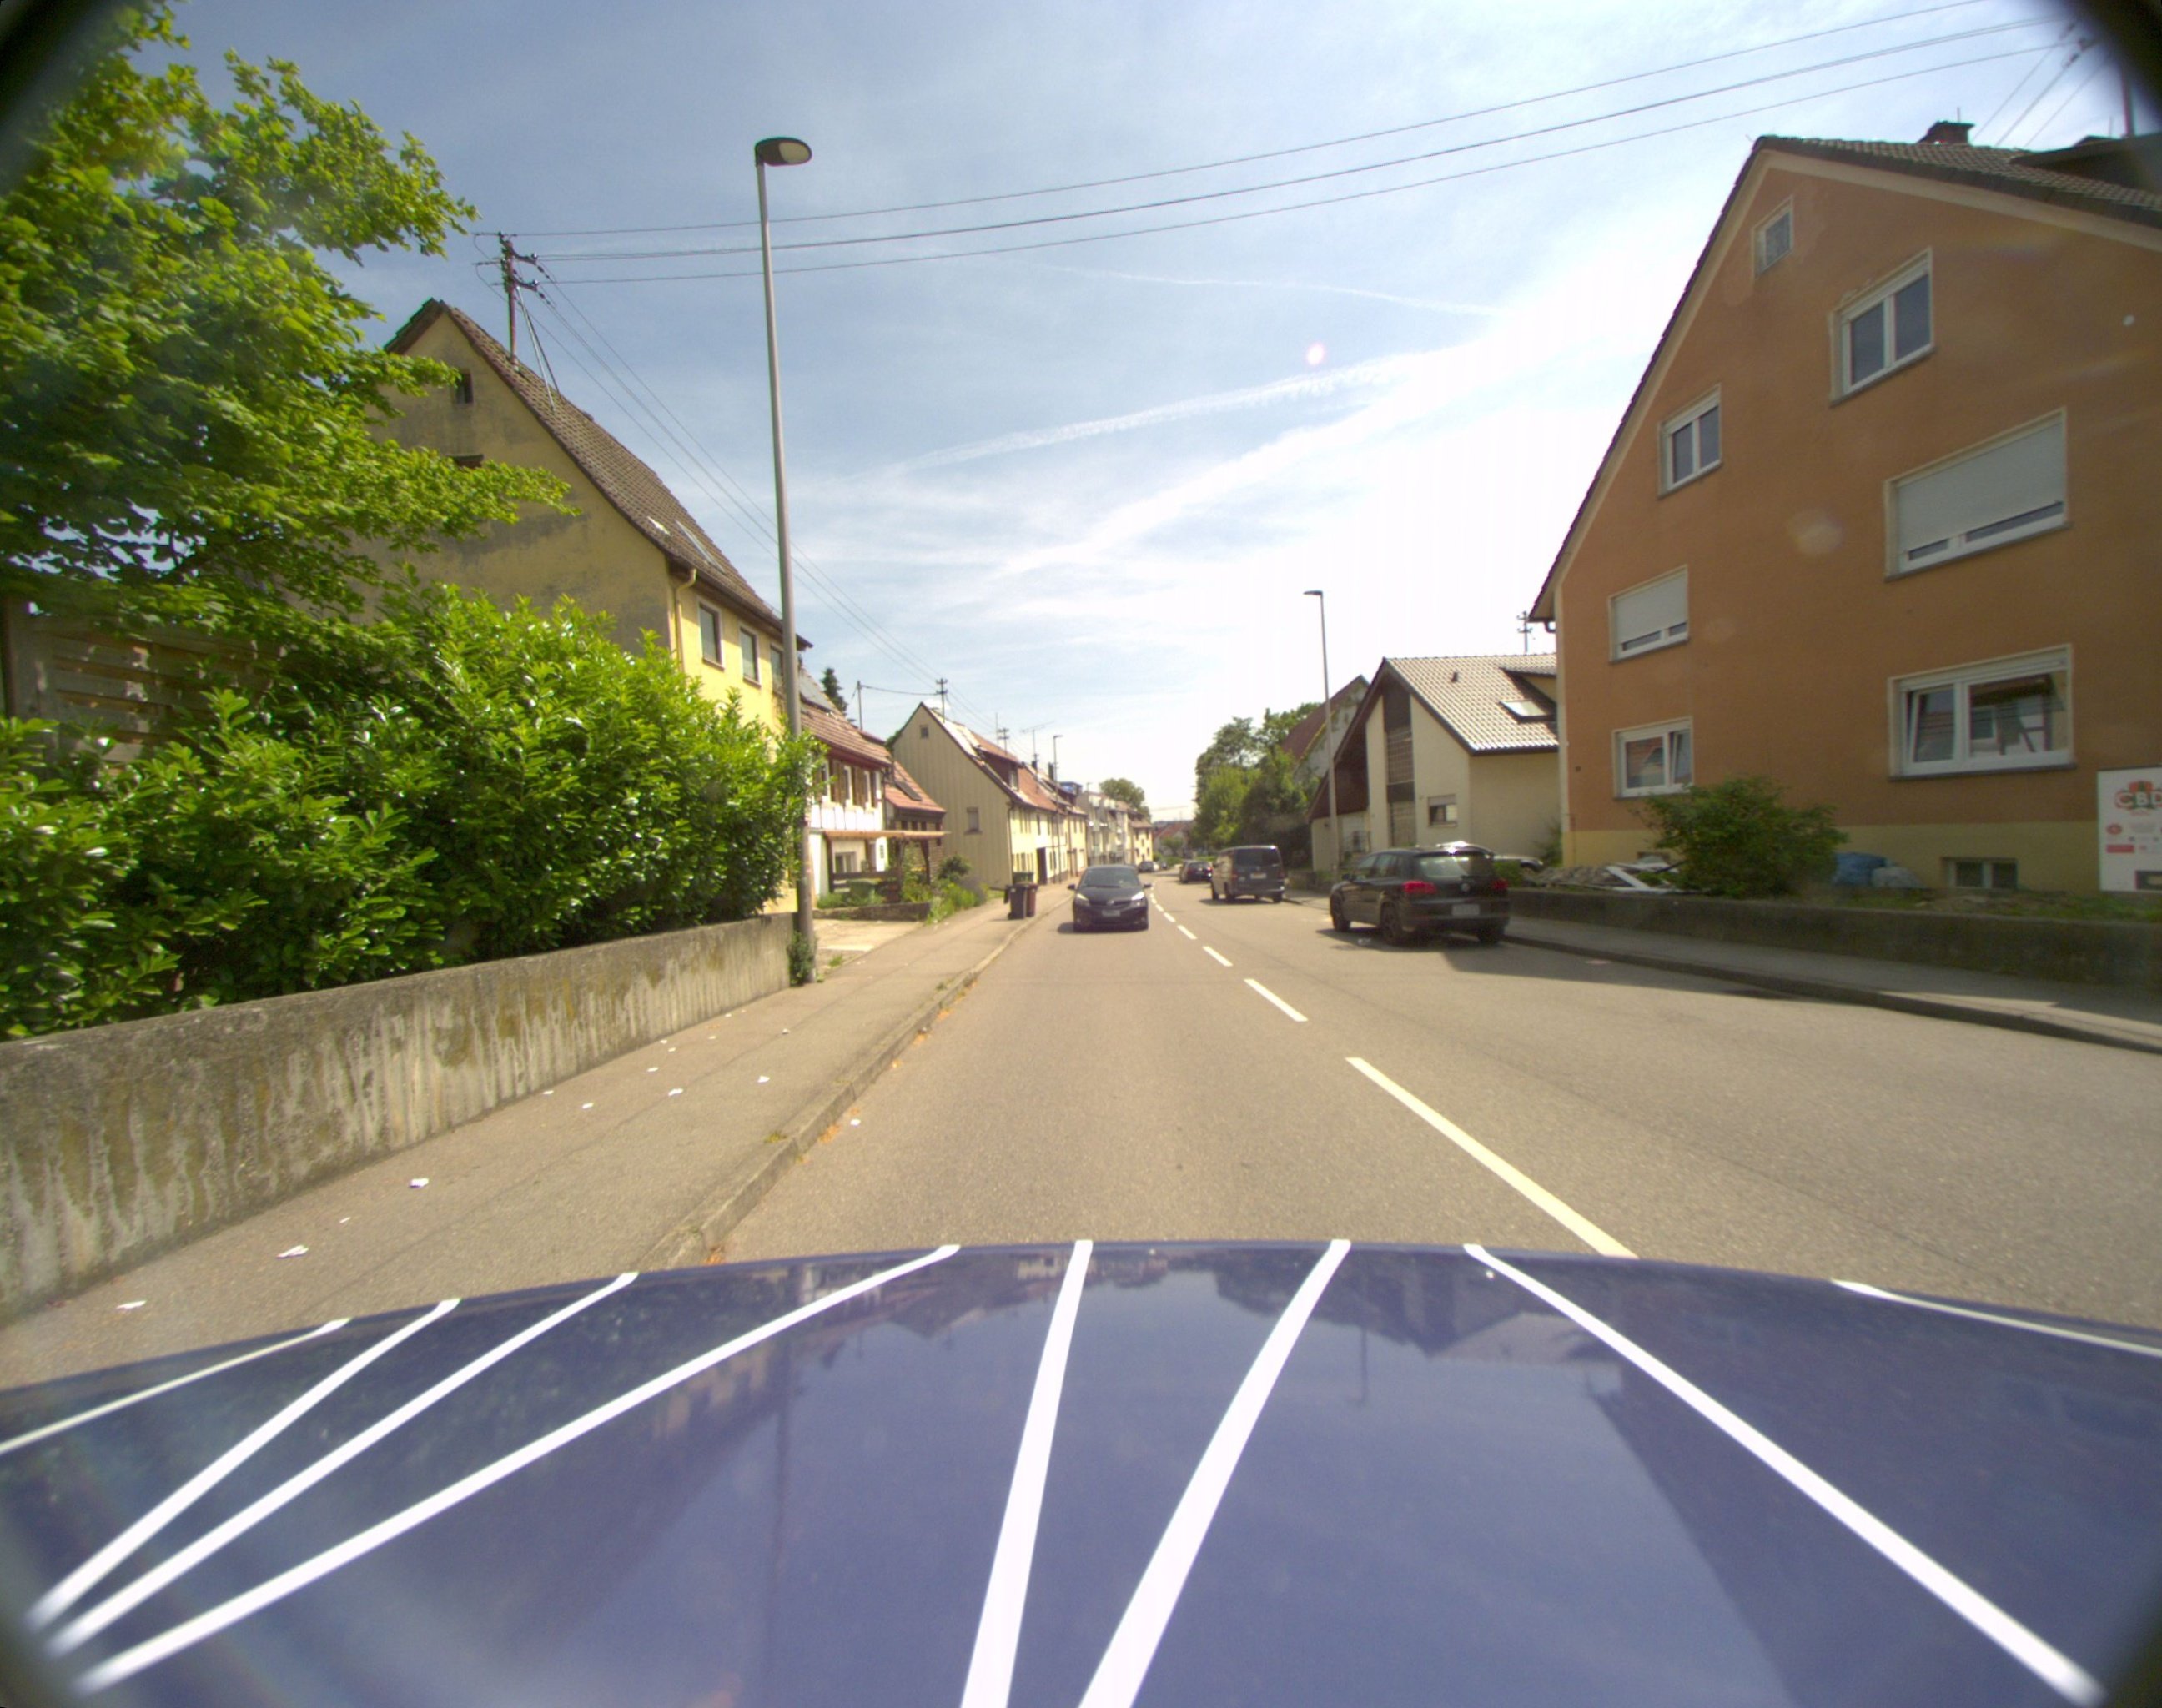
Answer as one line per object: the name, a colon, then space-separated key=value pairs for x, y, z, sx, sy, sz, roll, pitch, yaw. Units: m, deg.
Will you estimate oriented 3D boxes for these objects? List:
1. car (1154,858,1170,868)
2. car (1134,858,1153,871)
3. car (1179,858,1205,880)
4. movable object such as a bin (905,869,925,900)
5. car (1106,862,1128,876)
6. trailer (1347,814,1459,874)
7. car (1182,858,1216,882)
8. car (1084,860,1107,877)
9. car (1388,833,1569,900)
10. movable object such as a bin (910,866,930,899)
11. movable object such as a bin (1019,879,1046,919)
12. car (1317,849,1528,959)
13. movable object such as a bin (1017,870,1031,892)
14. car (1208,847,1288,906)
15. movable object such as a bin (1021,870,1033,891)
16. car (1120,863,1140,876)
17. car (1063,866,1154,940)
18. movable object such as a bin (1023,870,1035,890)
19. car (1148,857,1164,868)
car: x=12.559 y=1.323 z=117.356 sx=1.791 sy=1.412 sz=4.363 roll=-2 pitch=0 yaw=14
car: x=8.378 y=1.383 z=101.096 sx=1.957 sy=1.706 sz=4.721 roll=-2 pitch=0 yaw=12
car: x=8.157 y=1.069 z=55.703 sx=1.758 sy=1.512 sz=4.304 roll=-2 pitch=-1 yaw=9
movable object such as a bin: x=-5.937 y=1.074 z=27.220 sx=0.536 sy=1.051 sz=0.549 roll=4 pitch=1 yaw=-1
car: x=3.695 y=1.526 z=77.982 sx=1.797 sy=1.394 sz=4.415 roll=-1 pitch=0 yaw=9
trailer: x=14.212 y=-0.416 z=33.716 sx=3.840 sy=2.002 sz=2.000 roll=-9 pitch=0 yaw=0
car: x=7.587 y=1.002 z=49.278 sx=1.823 sy=1.464 sz=4.778 roll=-2 pitch=-1 yaw=5
car: x=1.308 y=1.272 z=67.848 sx=1.669 sy=1.344 sz=4.189 roll=-3 pitch=0 yaw=6
car: x=11.475 y=0.344 z=22.115 sx=4.240 sy=1.397 sz=1.821 roll=-6 pitch=0 yaw=-3
movable object such as a bin: x=-5.920 y=1.029 z=27.886 sx=0.536 sy=1.151 sz=0.549 roll=4 pitch=1 yaw=-1
movable object such as a bin: x=-1.312 y=1.210 z=20.426 sx=0.494 sy=1.027 sz=0.549 roll=2 pitch=1 yaw=25
car: x=5.866 y=0.775 z=13.702 sx=1.773 sy=1.626 sz=4.287 roll=-2 pitch=0 yaw=-1
movable object such as a bin: x=-2.741 y=1.283 z=36.547 sx=0.548 sy=1.027 sz=0.552 roll=0 pitch=0 yaw=5
car: x=5.939 y=0.739 z=27.635 sx=1.895 sy=1.926 sz=4.986 roll=-1 pitch=0 yaw=1
movable object such as a bin: x=-2.663 y=1.296 z=37.467 sx=0.548 sy=1.027 sz=0.552 roll=0 pitch=0 yaw=5
car: x=5.763 y=1.776 z=89.017 sx=1.800 sy=1.416 sz=4.293 roll=-2 pitch=0 yaw=10
car: x=0.781 y=1.056 z=17.938 sx=1.724 sy=1.448 sz=4.432 roll=-2 pitch=-1 yaw=7
movable object such as a bin: x=-2.600 y=1.301 z=38.055 sx=0.548 sy=1.027 sz=0.552 roll=0 pitch=0 yaw=5
car: x=10.975 y=1.205 z=110.689 sx=1.792 sy=1.447 sz=4.721 roll=-2 pitch=0 yaw=12
